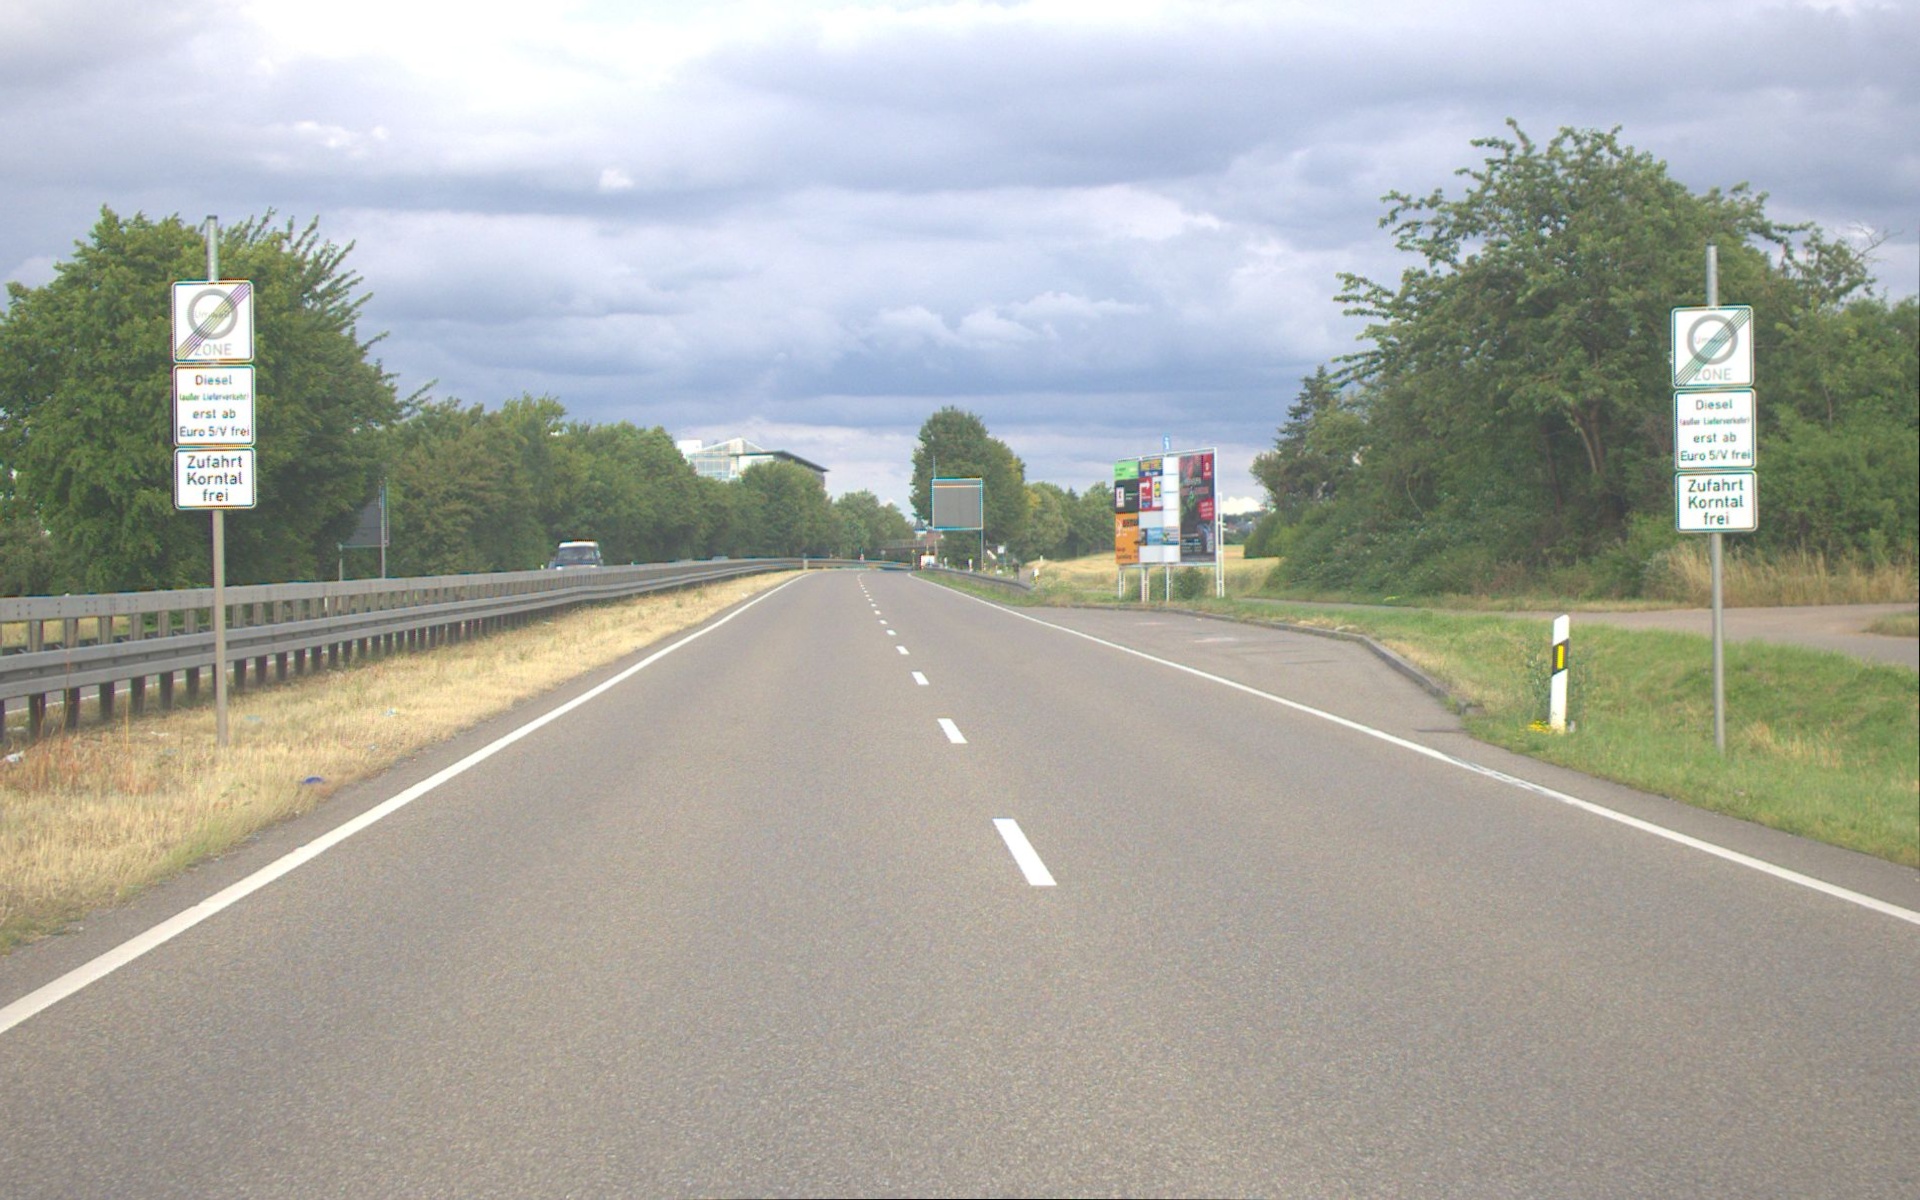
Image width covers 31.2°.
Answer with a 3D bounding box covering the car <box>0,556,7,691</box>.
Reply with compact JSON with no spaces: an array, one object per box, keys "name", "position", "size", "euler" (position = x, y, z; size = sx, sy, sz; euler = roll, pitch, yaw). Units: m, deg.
[{"name":"car","position":[-11.354,0.316,35.354],"size":[1.866,1.472,4.936],"euler":[-1,1,-2]}]
